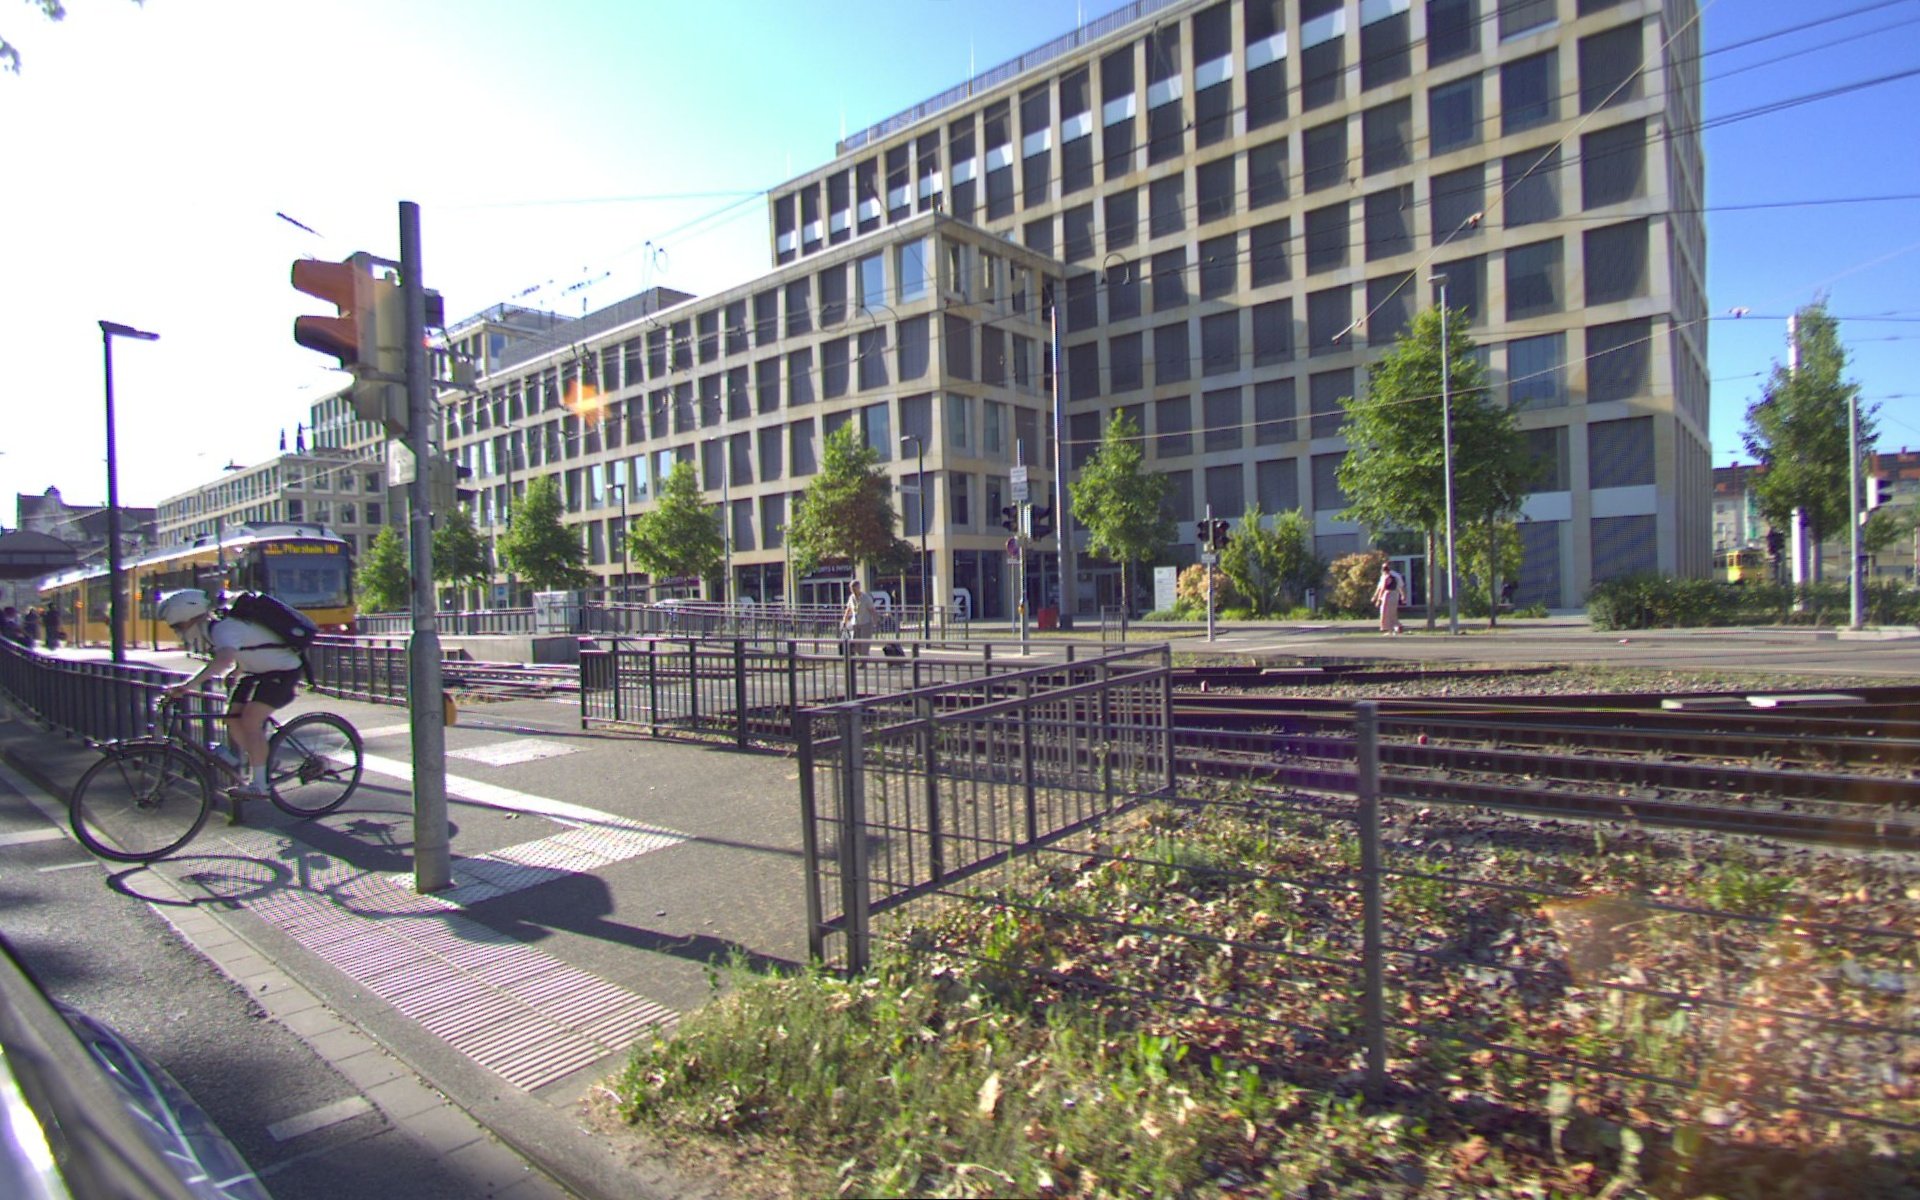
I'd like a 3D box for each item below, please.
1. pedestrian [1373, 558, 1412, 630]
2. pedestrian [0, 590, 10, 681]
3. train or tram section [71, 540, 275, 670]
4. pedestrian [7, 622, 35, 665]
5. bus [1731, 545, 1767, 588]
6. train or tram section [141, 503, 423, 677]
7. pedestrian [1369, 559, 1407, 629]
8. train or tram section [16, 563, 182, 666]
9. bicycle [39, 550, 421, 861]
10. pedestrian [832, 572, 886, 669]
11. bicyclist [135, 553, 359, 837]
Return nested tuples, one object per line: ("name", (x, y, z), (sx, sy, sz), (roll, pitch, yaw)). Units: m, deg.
("pedestrian", (10.603, -0.142, 24.804), (0.670, 1.729, 0.657), (-2, 0, 39))
("pedestrian", (-18.452, 0.684, 19.270), (0.665, 1.729, 0.407), (-2, 0, 41))
("train or tram section", (-27.721, 0.283, 35.288), (11.836, 3.858, 3.275), (-2, 0, 41))
("pedestrian", (-40.566, 1.892, 43.731), (0.625, 1.797, 0.785), (-2, 0, 41))
("bus", (61.500, -2.647, 78.990), (1.908, 3.163, 7.608), (-2, 1, 37))
("train or tram section", (-18.839, -0.089, 27.570), (11.836, 3.858, 3.275), (-2, 0, 41))
("pedestrian", (10.820, -0.152, 25.583), (0.670, 1.729, 0.657), (-2, 0, 39))
("train or tram section", (-37.614, 0.709, 43.875), (14.210, 3.858, 3.275), (-2, 0, 41))
("bicycle", (-4.647, 0.574, 6.645), (0.587, 1.729, 1.957), (-2, 0, 24))
("pedestrian", (-1.873, 0.372, 18.747), (0.660, 1.729, 0.726), (-3, 0, -37))
("bicyclist", (-4.717, 0.584, 6.734), (0.766, 1.729, 0.902), (-2, 0, 24))
